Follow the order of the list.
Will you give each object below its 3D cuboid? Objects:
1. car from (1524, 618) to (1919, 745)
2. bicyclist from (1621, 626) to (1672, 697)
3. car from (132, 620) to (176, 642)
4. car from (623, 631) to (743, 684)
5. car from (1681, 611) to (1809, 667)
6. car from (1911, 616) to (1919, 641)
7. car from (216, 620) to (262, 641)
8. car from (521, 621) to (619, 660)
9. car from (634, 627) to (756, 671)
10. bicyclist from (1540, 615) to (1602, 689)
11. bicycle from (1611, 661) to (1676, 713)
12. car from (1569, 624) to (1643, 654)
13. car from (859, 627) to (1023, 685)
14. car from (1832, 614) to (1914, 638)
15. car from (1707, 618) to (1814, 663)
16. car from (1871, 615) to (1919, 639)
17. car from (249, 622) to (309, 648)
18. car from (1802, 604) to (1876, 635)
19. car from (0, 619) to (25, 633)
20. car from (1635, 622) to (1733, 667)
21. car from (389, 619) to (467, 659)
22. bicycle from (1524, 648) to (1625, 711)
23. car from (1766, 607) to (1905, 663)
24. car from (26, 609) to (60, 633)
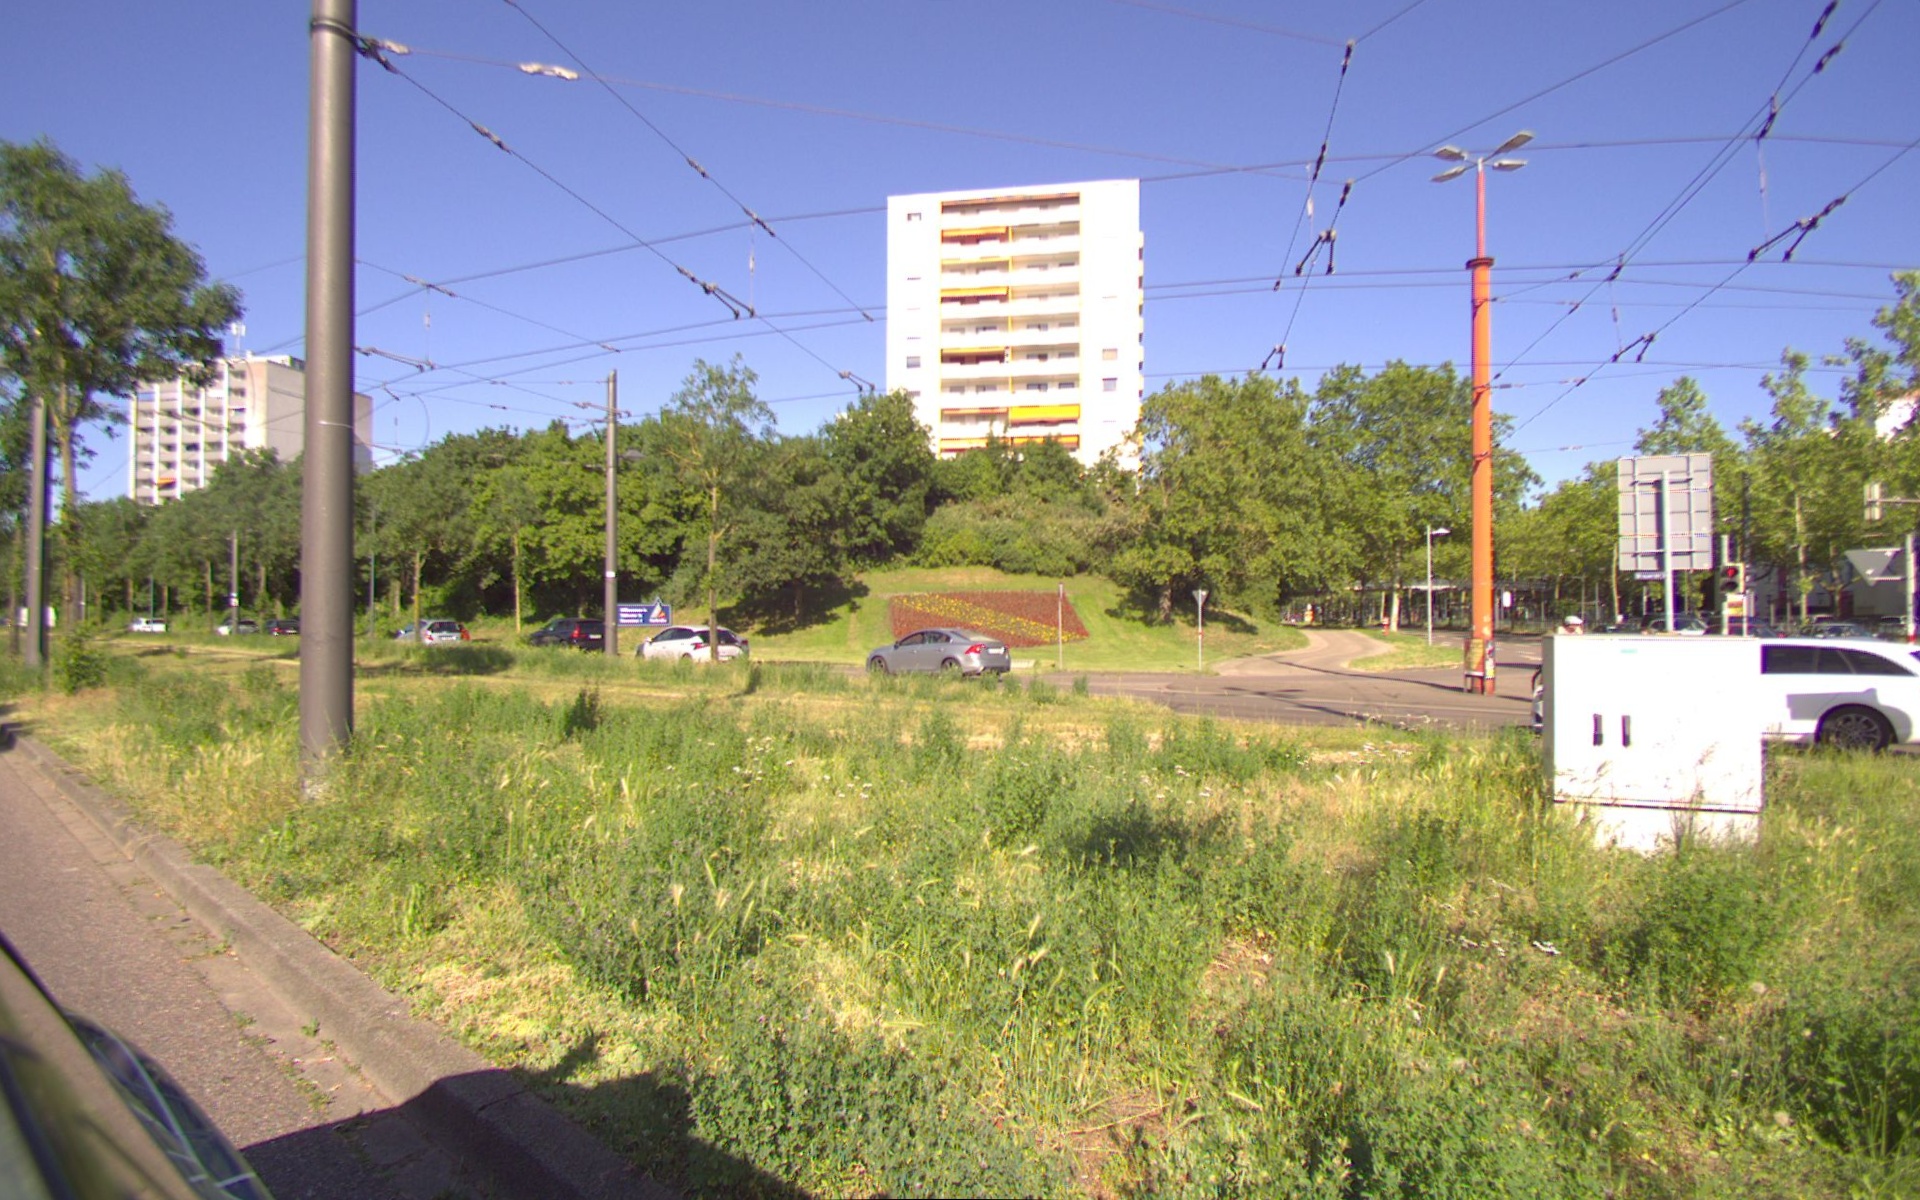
[{"bbox_3d":[10.203,0.970,13.284,4.642,1.434,1.685,-1,-2,42],"label":"car"},{"bbox_3d":[13.364,1.184,19.722,0.542,1.333,0.698,-1,0,8],"label":"bicyclist"},{"bbox_3d":[-62.966,2.364,79.038,4.654,1.634,1.875,-1,0,41],"label":"car"},{"bbox_3d":[-8.390,1.719,30.460,4.183,1.484,1.571,-3,-4,44],"label":"car"},{"bbox_3d":[28.685,1.370,37.185,1.979,1.915,4.259,-1,0,11],"label":"car"},{"bbox_3d":[64.111,1.827,65.035,1.864,1.608,4.010,0,0,-34],"label":"car"},{"bbox_3d":[-53.162,2.236,74.611,4.542,1.408,1.879,-1,0,42],"label":"car"},{"bbox_3d":[-16.298,1.655,42.146,4.631,1.492,1.972,-1,0,43],"label":"car"},{"bbox_3d":[-9.518,1.710,36.127,4.692,1.443,1.972,-1,-2,42],"label":"car"},{"bbox_3d":[12.248,1.038,20.314,0.741,1.441,0.757,-1,0,-2],"label":"bicyclist"},{"bbox_3d":[13.409,1.694,19.879,0.364,0.889,1.622,-1,0,8],"label":"bicycle"},{"bbox_3d":[31.550,1.873,49.558,1.718,1.332,3.985,-1,0,11],"label":"car"},{"bbox_3d":[-0.587,1.482,27.841,4.400,1.384,1.972,-1,0,43],"label":"car"},{"bbox_3d":[65.491,1.853,72.643,1.864,1.608,4.010,0,0,-34],"label":"car"},{"bbox_3d":[33.547,1.665,42.566,1.893,1.763,3.985,-1,0,11],"label":"car"},{"bbox_3d":[64.787,1.840,68.742,1.864,1.608,4.010,0,0,-34],"label":"car"},{"bbox_3d":[-40.082,2.013,59.512,4.991,1.420,1.971,-1,0,44],"label":"car"},{"bbox_3d":[59.023,1.303,68.081,1.982,2.029,4.385,-1,-1,15],"label":"car"},{"bbox_3d":[-113.821,3.066,121.477,5.272,1.596,1.972,-1,0,43],"label":"car"},{"bbox_3d":[30.805,1.845,43.189,1.893,1.763,3.985,-1,0,11],"label":"car"},{"bbox_3d":[-22.796,1.632,43.332,3.757,1.620,1.744,-1,-2,42],"label":"car"},{"bbox_3d":[12.266,1.562,20.299,0.467,1.089,2.362,-1,0,-3],"label":"bicycle"},{"bbox_3d":[31.939,1.231,37.099,1.979,1.915,4.259,-1,0,11],"label":"car"},{"bbox_3d":[-95.325,2.176,105.162,6.879,2.387,2.017,-1,-1,43],"label":"car"}]
